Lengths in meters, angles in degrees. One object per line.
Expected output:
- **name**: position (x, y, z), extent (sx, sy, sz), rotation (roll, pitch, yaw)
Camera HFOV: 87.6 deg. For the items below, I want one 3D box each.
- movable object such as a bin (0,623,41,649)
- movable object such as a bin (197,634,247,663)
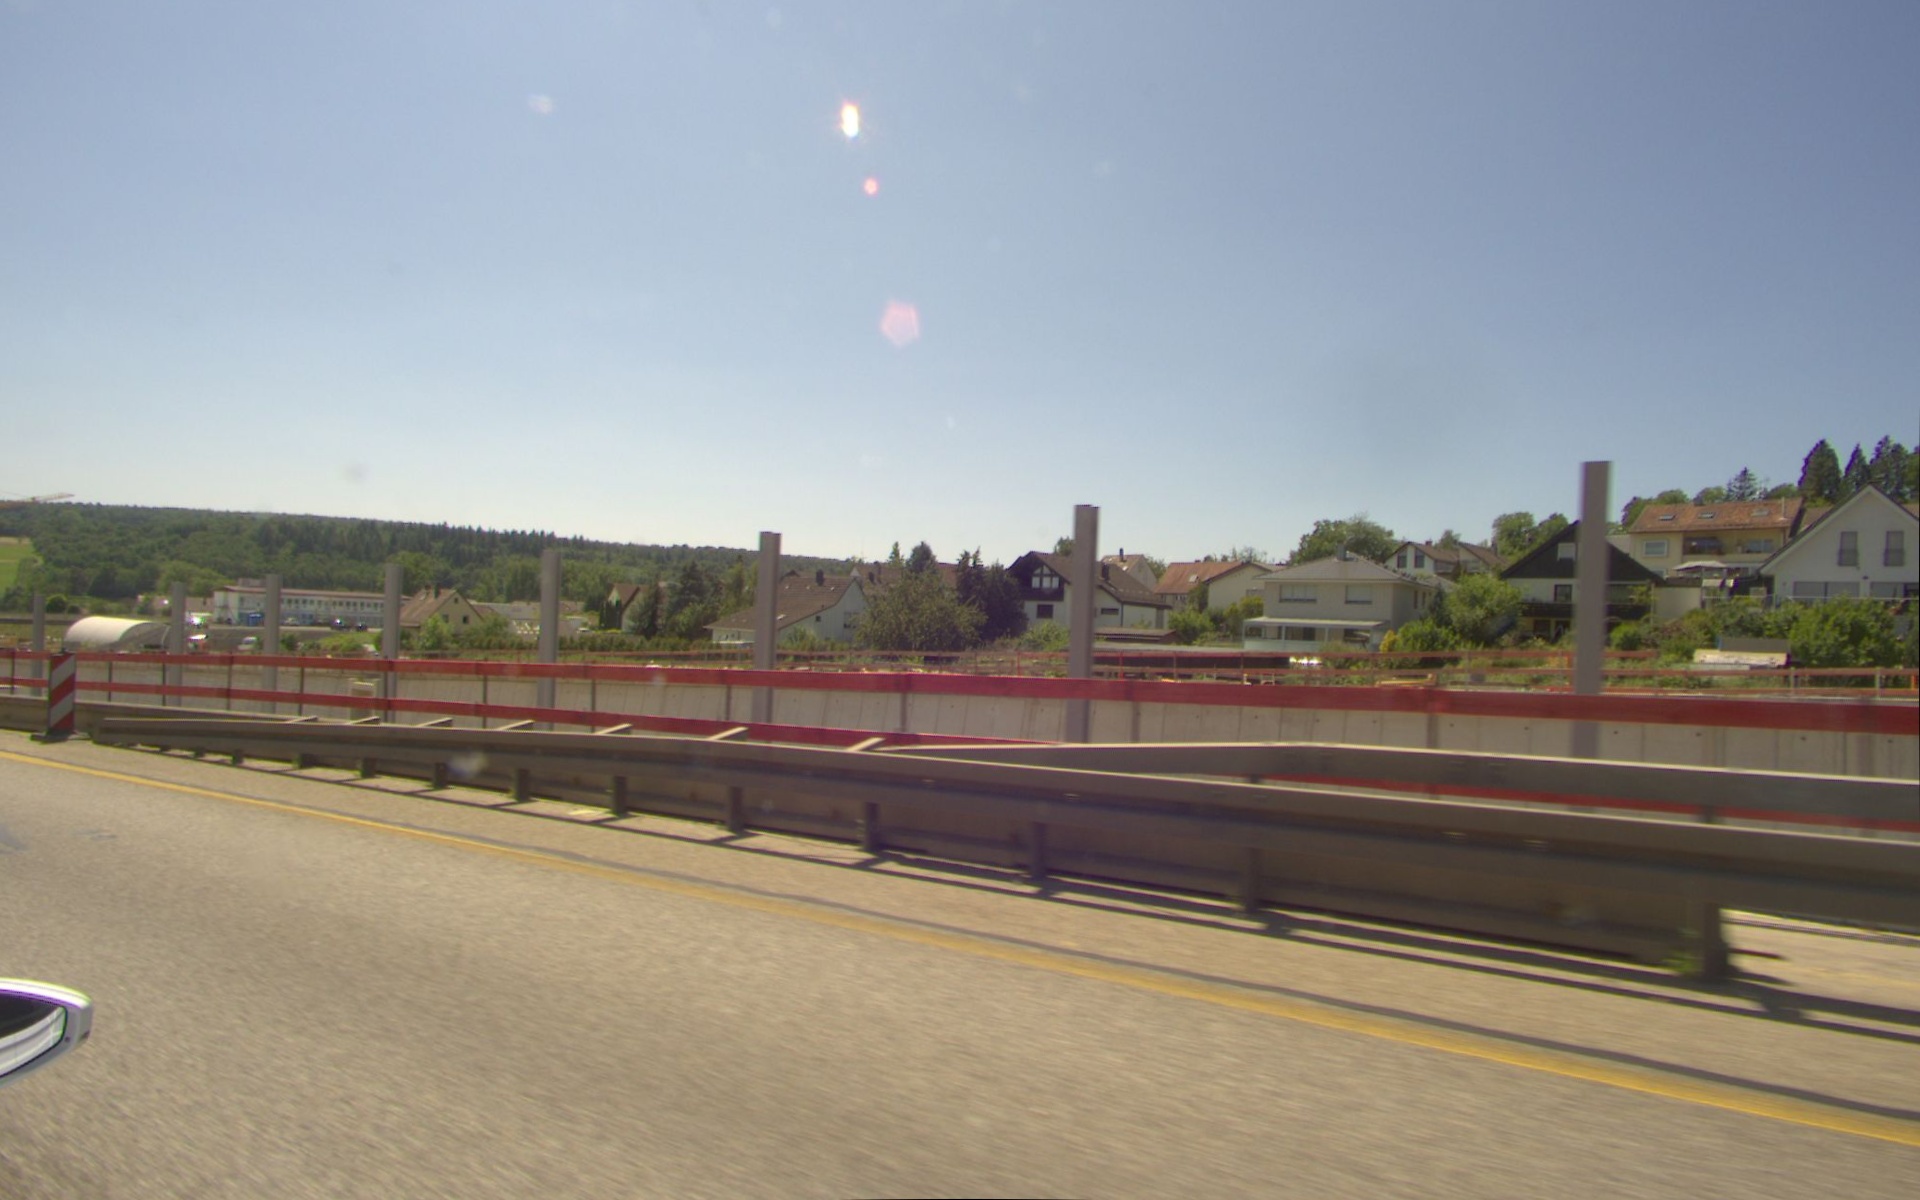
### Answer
- **movable object such as a bin**: position (-110.197, 4.174, 116.276), extent (9.347, 2.946, 2.882), rotation (-1, -2, 33)
- **movable object such as a bin**: position (-60.808, 3.968, 82.468), extent (4.094, 2.267, 1.990), rotation (-1, -2, 33)
